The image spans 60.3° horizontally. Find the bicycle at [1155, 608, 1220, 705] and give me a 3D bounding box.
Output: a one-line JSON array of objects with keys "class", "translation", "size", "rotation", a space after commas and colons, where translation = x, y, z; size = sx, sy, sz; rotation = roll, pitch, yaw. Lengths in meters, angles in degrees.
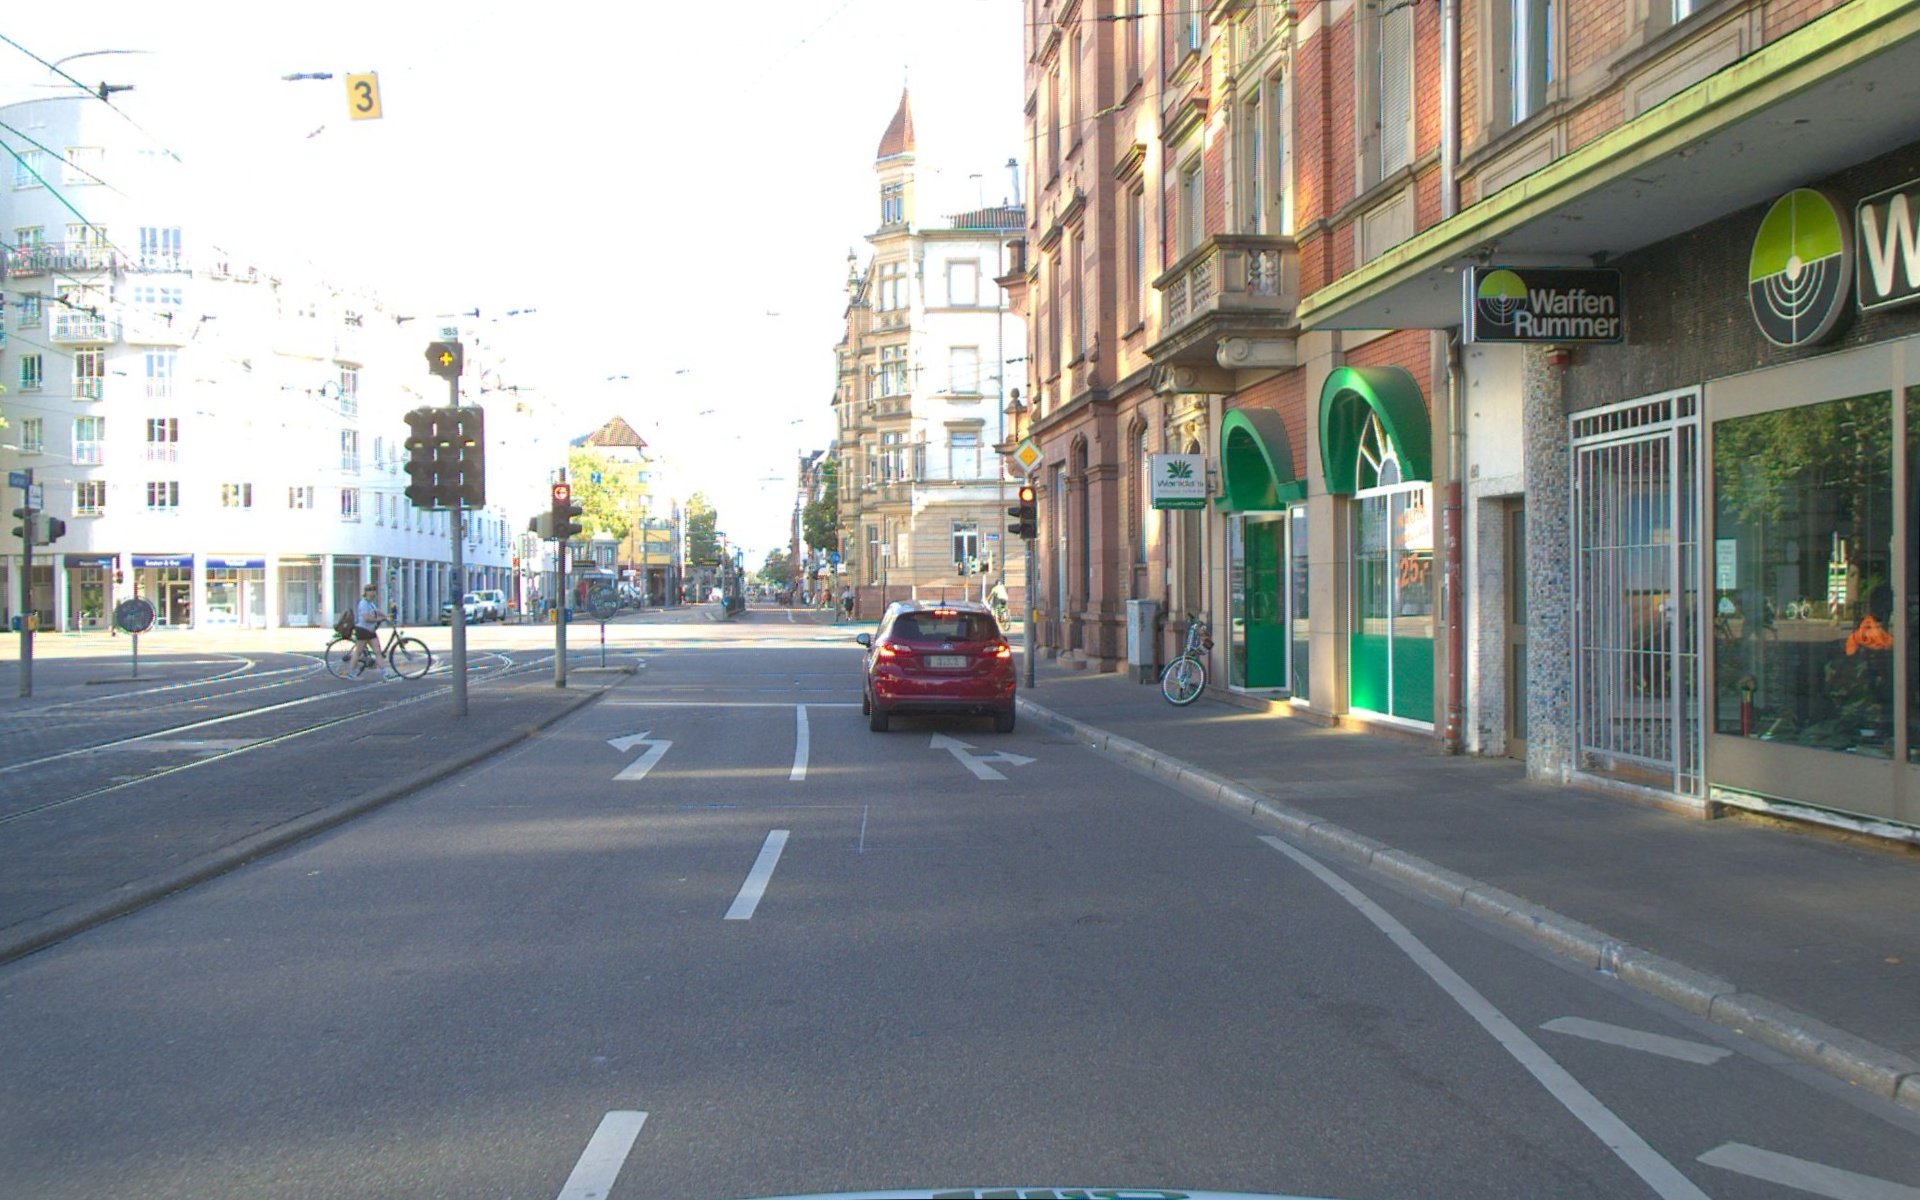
[{"class": "bicycle", "translation": [2.997, 0.715, 21.679], "size": [0.700, 1.172, 1.656], "rotation": [-2, 0, 12]}]

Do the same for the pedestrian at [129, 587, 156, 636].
[{"class": "pedestrian", "translation": [-34.859, 0.481, 70.517], "size": [0.936, 2.049, 0.929], "rotation": [0, 0, -34]}]

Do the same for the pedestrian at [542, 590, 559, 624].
[{"class": "pedestrian", "translation": [-21.152, 0.347, 85.430], "size": [0.753, 1.761, 0.572], "rotation": [0, 0, -5]}]

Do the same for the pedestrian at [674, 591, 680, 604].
[{"class": "pedestrian", "translation": [-35.760, -0.285, 208.718], "size": [0.620, 1.632, 0.575], "rotation": [0, 0, -23]}]

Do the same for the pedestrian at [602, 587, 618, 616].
[{"class": "pedestrian", "translation": [-25.115, 0.115, 118.707], "size": [1.026, 2.049, 0.957], "rotation": [-1, 0, -9]}]

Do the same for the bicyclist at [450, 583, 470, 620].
[{"class": "bicyclist", "translation": [-24.131, 0.078, 79.794], "size": [0.792, 1.756, 0.793], "rotation": [-1, 0, -7]}]

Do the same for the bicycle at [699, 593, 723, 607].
[{"class": "bicycle", "translation": [-36.884, 0.012, 244.998], "size": [3.359, 2.049, 1.111], "rotation": [0, 0, -7]}]

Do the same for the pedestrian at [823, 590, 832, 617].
[{"class": "pedestrian", "translation": [-9.880, 0.254, 123.620], "size": [0.634, 2.049, 0.682], "rotation": [0, 0, -7]}]

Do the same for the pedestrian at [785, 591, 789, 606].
[{"class": "pedestrian", "translation": [-22.663, -0.175, 216.663], "size": [0.566, 1.920, 0.668], "rotation": [0, 0, -6]}]

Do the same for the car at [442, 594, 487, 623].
[{"class": "car", "translation": [-27.595, 0.457, 92.200], "size": [1.731, 1.573, 3.457], "rotation": [-1, 0, -6]}]

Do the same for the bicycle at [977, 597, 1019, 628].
[{"class": "bicycle", "translation": [1.380, 0.471, 60.187], "size": [1.451, 1.108, 0.528], "rotation": [-1, 0, 23]}]

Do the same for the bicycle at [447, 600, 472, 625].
[{"class": "bicycle", "translation": [-24.113, 0.604, 79.662], "size": [0.792, 1.167, 2.047], "rotation": [-1, 0, -7]}]

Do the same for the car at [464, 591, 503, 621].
[{"class": "car", "translation": [-28.622, 0.333, 99.440], "size": [1.669, 1.748, 3.559], "rotation": [-1, 0, -7]}]

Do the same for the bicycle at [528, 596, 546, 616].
[{"class": "bicycle", "translation": [-26.126, 0.369, 102.087], "size": [0.792, 1.167, 2.007], "rotation": [-1, 0, -6]}]

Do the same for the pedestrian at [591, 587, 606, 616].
[{"class": "pedestrian", "translation": [-25.631, 0.131, 117.278], "size": [1.026, 2.049, 0.957], "rotation": [-1, 0, -9]}]

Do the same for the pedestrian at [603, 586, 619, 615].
[{"class": "pedestrian", "translation": [-24.347, 0.037, 115.412], "size": [1.026, 2.049, 0.957], "rotation": [-1, 0, -9]}]

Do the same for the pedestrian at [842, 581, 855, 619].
[{"class": "pedestrian", "translation": [-5.953, -0.006, 88.469], "size": [0.639, 2.049, 0.758], "rotation": [0, 0, -7]}]

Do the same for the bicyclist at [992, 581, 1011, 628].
[{"class": "bicyclist", "translation": [1.510, 0.173, 60.130], "size": [0.532, 1.705, 0.501], "rotation": [-1, 0, 23]}]

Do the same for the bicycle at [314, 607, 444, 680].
[{"class": "bicycle", "translation": [-9.771, 0.727, 27.877], "size": [1.980, 1.198, 0.627], "rotation": [0, -1, -8]}]

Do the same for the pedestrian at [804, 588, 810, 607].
[{"class": "pedestrian", "translation": [-16.584, -0.250, 179.294], "size": [0.566, 2.049, 0.630], "rotation": [0, 0, -6]}]

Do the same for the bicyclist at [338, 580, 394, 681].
[{"class": "bicyclist", "translation": [-9.853, 0.495, 27.446], "size": [0.716, 1.655, 0.764], "rotation": [0, -1, -8]}]

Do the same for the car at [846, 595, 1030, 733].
[{"class": "car", "translation": [-0.364, 0.700, 20.023], "size": [1.721, 1.492, 3.938], "rotation": [1, 0, -8]}]

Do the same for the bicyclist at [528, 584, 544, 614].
[{"class": "bicyclist", "translation": [-26.120, -0.083, 101.949], "size": [0.792, 1.853, 0.992], "rotation": [-1, 0, -7]}]

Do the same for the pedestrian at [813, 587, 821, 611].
[{"class": "pedestrian", "translation": [-11.858, -0.086, 137.037], "size": [0.565, 2.049, 0.631], "rotation": [0, 0, -1]}]
